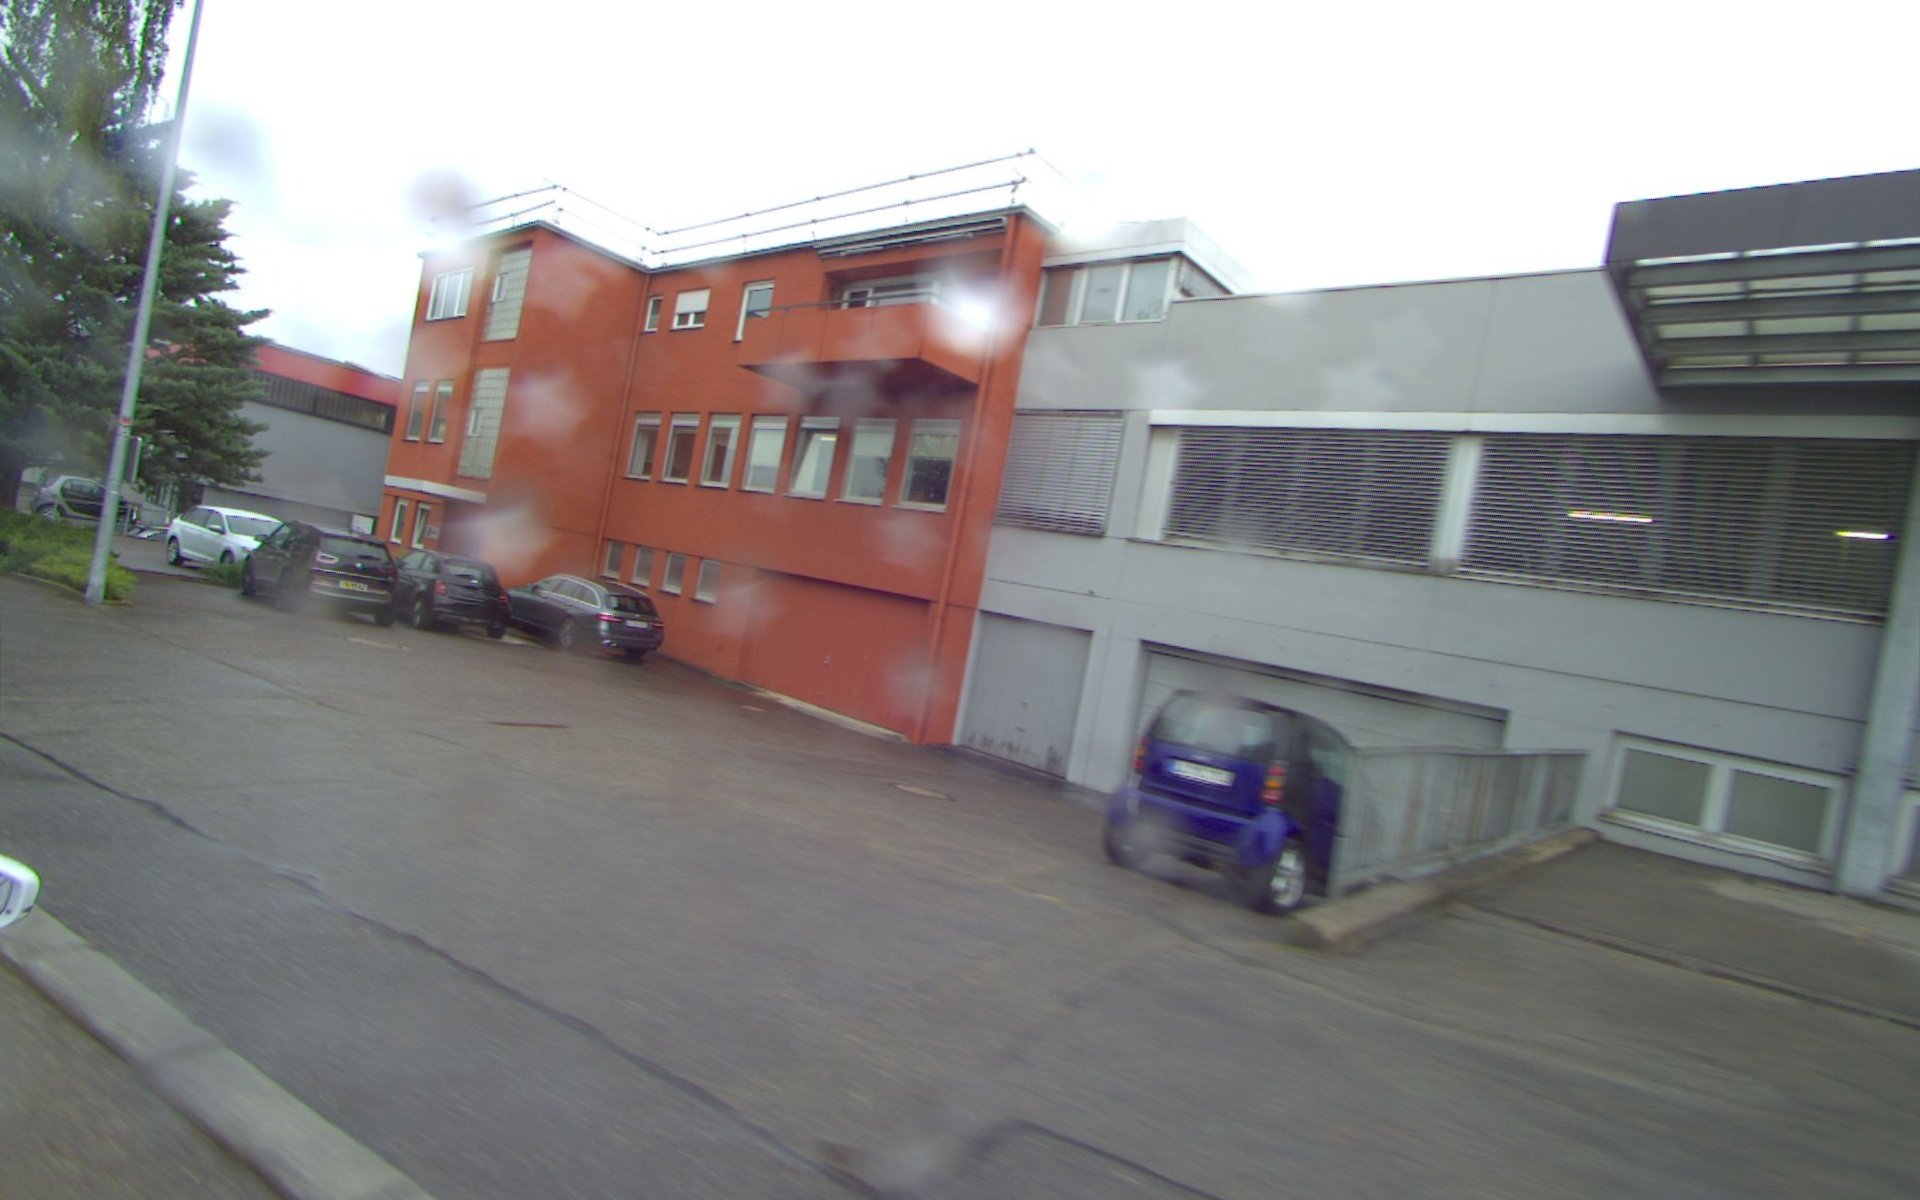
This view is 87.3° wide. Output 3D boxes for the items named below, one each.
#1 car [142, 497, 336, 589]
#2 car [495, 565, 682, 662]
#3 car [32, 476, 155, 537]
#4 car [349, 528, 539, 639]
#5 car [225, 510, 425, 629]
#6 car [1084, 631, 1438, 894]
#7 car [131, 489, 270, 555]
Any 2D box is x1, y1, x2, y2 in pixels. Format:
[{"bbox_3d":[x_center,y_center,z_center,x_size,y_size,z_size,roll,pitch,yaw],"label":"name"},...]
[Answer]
[{"bbox_3d":[-16.516,-1.316,23.012,4.255,1.488,1.908,8,0,29],"label":"car"},{"bbox_3d":[-8.361,0.259,22.447,4.450,1.465,1.969,7,-3,43],"label":"car"},{"bbox_3d":[-28.126,-3.022,32.701,1.654,1.464,2.710,8,-1,40],"label":"car"},{"bbox_3d":[-10.773,-0.380,20.848,4.451,1.698,1.987,7,-2,44],"label":"car"},{"bbox_3d":[-11.923,-0.616,18.767,4.452,1.596,1.994,7,-3,44],"label":"car"},{"bbox_3d":[2.792,1.518,8.831,1.595,1.510,3.449,8,-10,40],"label":"car"},{"bbox_3d":[-23.691,-2.419,31.437,1.605,1.513,3.035,8,0,37],"label":"car"}]
